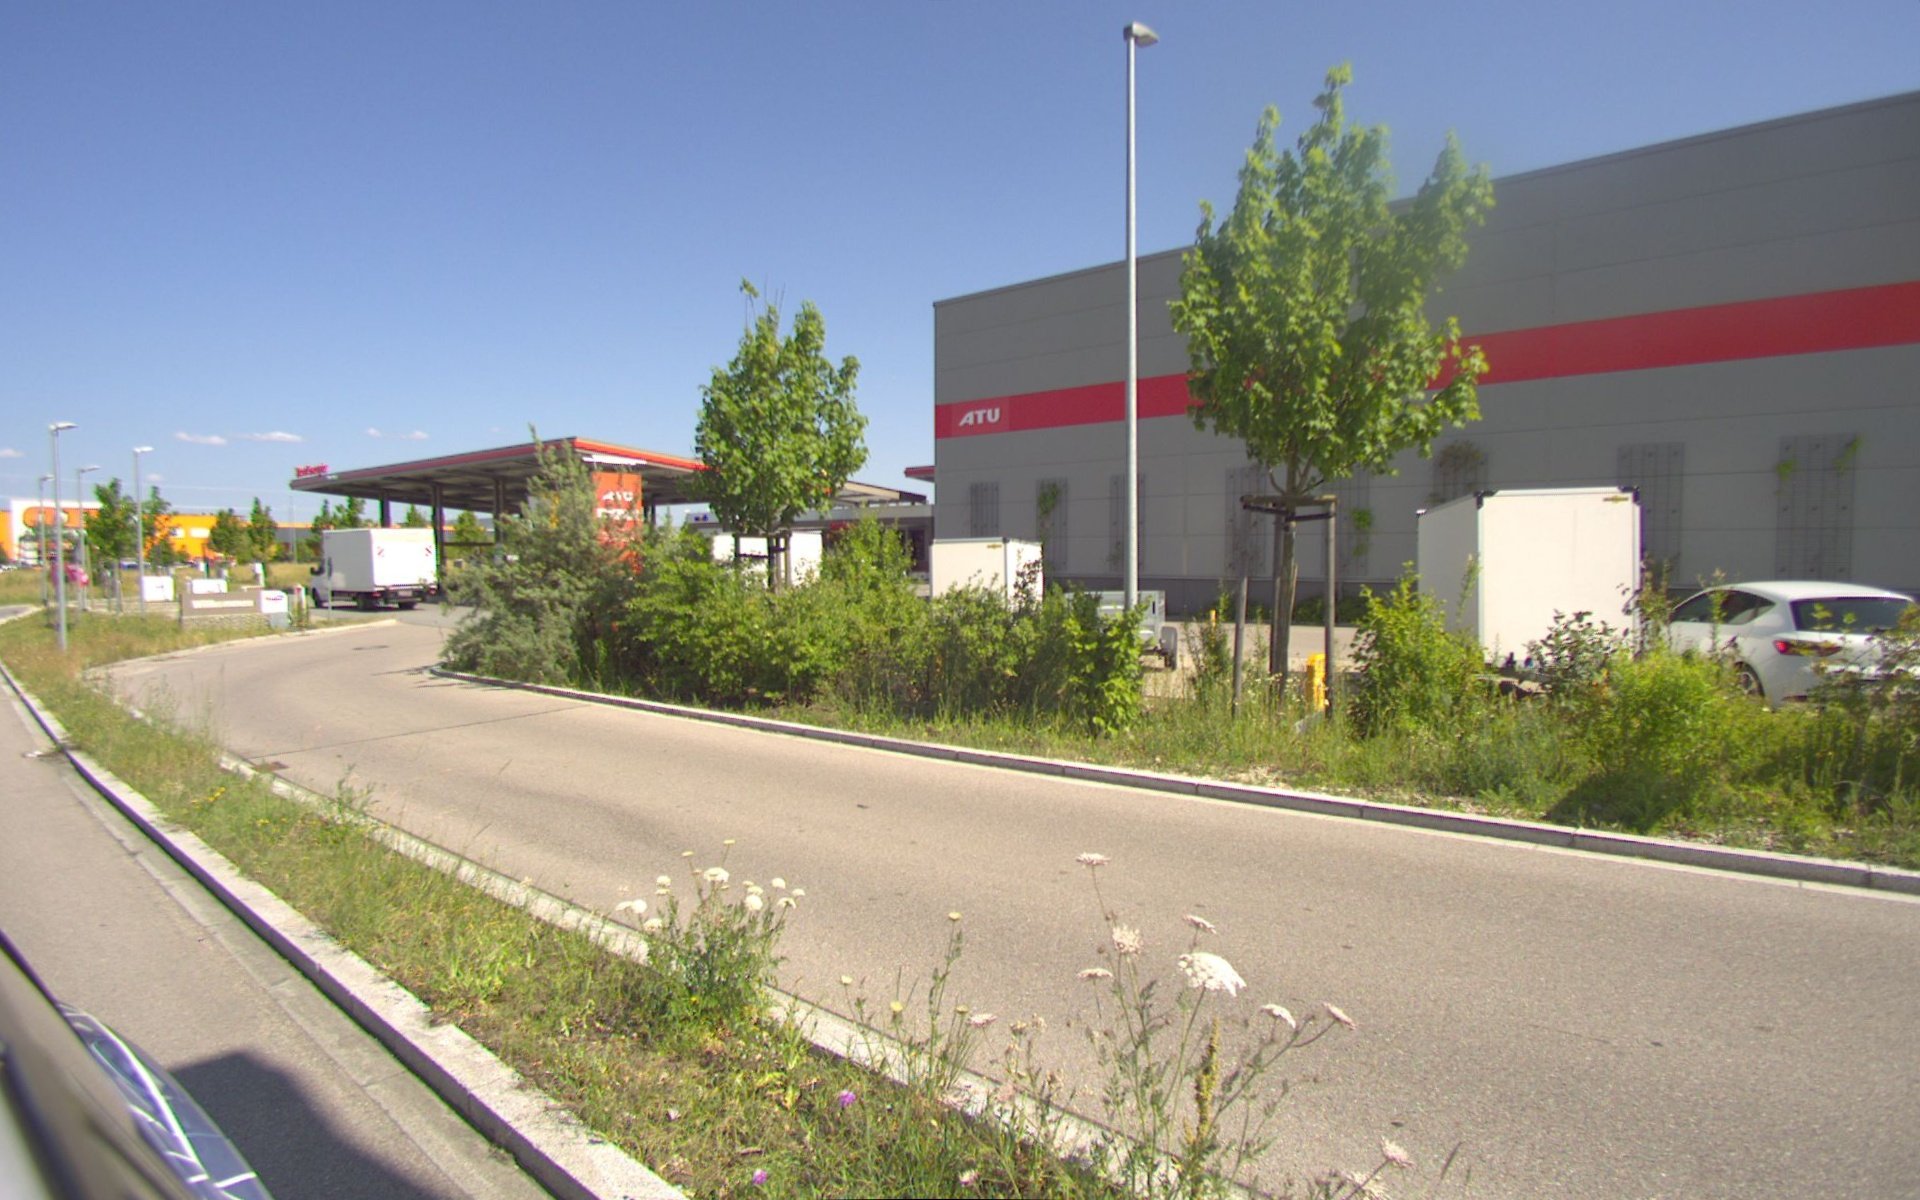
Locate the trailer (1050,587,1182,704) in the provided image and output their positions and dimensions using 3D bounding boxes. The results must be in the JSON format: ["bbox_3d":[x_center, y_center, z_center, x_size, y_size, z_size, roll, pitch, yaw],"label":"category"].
[{"bbox_3d":[2.551,0.625,15.913,1.586,1.521,3.582,-1,2,16],"label":"trailer"}]

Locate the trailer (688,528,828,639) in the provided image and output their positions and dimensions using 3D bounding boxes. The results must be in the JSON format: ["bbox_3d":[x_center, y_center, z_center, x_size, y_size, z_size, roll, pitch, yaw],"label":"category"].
[{"bbox_3d":[-4.008,-0.364,20.608,1.974,2.028,3.203,-1,2,4],"label":"trailer"}]

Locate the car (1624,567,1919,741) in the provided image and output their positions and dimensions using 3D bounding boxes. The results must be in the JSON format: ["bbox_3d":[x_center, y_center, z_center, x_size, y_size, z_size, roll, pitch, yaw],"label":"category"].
[{"bbox_3d":[9.085,0.440,11.159,1.702,1.547,3.983,-1,2,14],"label":"car"}]

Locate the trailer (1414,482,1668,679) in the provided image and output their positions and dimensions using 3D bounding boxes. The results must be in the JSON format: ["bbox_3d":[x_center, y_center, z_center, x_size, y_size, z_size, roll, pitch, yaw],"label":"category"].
[{"bbox_3d":[6.788,-0.243,12.203,1.730,2.028,3.228,-1,2,12],"label":"trailer"}]

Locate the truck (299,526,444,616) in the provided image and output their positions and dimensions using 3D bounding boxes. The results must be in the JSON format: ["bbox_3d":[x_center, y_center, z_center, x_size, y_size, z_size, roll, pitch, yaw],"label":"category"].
[{"bbox_3d":[-23.816,-1.126,40.833,6.896,3.343,2.609,0,2,38],"label":"truck"}]

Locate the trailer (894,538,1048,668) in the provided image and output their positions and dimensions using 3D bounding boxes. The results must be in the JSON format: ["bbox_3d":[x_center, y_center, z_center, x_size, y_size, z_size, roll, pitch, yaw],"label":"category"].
[{"bbox_3d":[0.266,0.009,17.463,1.982,2.028,2.723,-1,2,16],"label":"trailer"}]
